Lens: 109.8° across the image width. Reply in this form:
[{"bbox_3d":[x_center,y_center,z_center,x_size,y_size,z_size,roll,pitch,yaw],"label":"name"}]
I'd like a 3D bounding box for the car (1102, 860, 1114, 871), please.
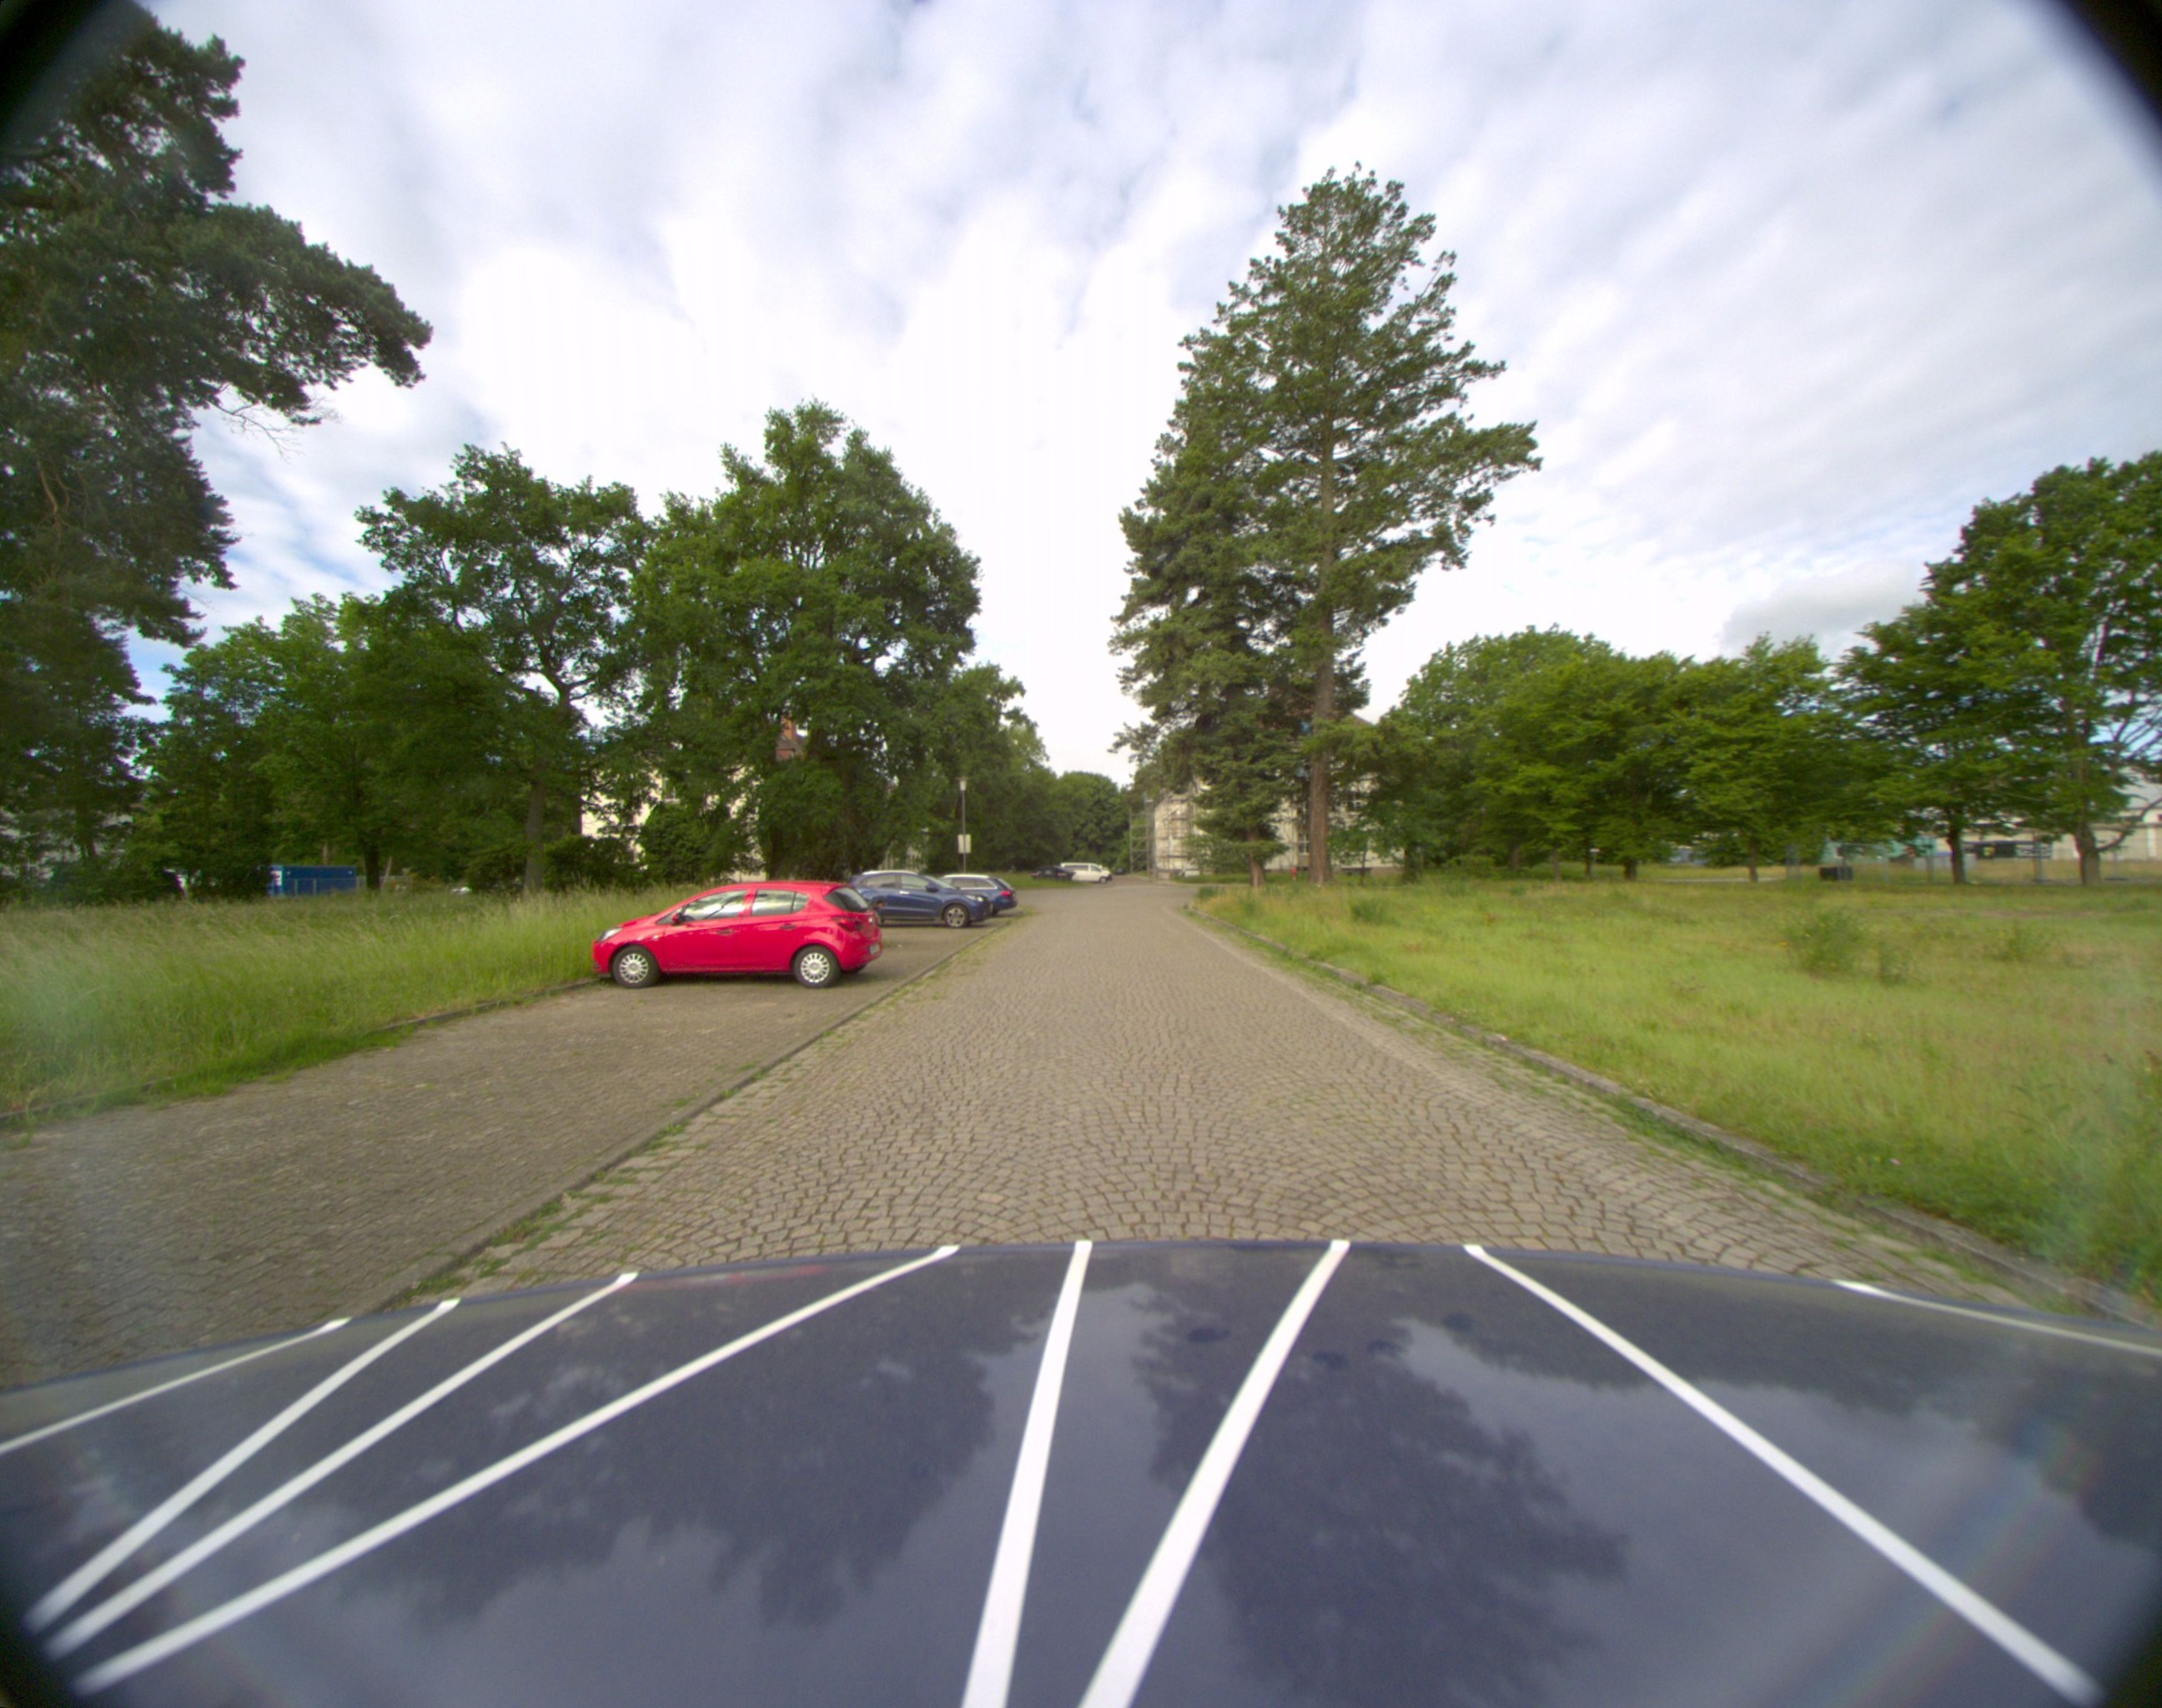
[{"bbox_3d":[5.021,2.054,141.061,1.962,2.002,4.261,-1,0,0],"label":"car"}]

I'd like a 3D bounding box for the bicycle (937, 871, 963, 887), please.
[{"bbox_3d":[-10.434,2.008,60.441,1.940,1.163,0.537,-3,0,-15],"label":"bicycle"}]

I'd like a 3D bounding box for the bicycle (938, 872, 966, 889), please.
[{"bbox_3d":[-9.549,1.942,56.322,1.942,1.163,0.487,-3,0,-24],"label":"bicycle"}]

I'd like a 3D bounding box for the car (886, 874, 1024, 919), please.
[{"bbox_3d":[-4.263,1.440,26.230,4.367,1.430,1.927,-1,0,3],"label":"car"}]

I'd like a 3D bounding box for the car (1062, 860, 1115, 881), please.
[{"bbox_3d":[0.715,1.578,74.950,5.149,2.002,2.000,-1,0,1],"label":"car"}]

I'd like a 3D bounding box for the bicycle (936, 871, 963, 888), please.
[{"bbox_3d":[-10.104,1.982,58.582,1.941,1.163,0.487,-3,0,-21],"label":"bicycle"}]

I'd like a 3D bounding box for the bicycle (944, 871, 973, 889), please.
[{"bbox_3d":[-8.940,1.908,55.391,1.942,1.163,0.487,-3,0,-26],"label":"bicycle"}]

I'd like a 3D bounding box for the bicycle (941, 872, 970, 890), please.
[{"bbox_3d":[-9.067,1.911,54.716,1.942,1.163,0.487,-3,0,-26],"label":"bicycle"}]

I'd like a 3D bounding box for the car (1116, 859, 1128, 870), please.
[{"bbox_3d":[7.562,1.996,141.251,1.962,2.002,4.261,-1,0,0],"label":"car"}]

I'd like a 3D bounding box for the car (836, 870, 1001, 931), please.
[{"bbox_3d":[-4.484,1.281,21.492,4.255,1.613,1.887,0,0,0],"label":"car"}]

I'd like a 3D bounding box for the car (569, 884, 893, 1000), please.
[{"bbox_3d":[-4.966,1.230,11.195,3.933,1.487,1.785,0,0,0],"label":"car"}]

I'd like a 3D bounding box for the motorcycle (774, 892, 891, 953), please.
[{"bbox_3d":[-5.107,1.402,15.694,2.236,1.194,0.568,0,0,-1],"label":"motorcycle"}]
